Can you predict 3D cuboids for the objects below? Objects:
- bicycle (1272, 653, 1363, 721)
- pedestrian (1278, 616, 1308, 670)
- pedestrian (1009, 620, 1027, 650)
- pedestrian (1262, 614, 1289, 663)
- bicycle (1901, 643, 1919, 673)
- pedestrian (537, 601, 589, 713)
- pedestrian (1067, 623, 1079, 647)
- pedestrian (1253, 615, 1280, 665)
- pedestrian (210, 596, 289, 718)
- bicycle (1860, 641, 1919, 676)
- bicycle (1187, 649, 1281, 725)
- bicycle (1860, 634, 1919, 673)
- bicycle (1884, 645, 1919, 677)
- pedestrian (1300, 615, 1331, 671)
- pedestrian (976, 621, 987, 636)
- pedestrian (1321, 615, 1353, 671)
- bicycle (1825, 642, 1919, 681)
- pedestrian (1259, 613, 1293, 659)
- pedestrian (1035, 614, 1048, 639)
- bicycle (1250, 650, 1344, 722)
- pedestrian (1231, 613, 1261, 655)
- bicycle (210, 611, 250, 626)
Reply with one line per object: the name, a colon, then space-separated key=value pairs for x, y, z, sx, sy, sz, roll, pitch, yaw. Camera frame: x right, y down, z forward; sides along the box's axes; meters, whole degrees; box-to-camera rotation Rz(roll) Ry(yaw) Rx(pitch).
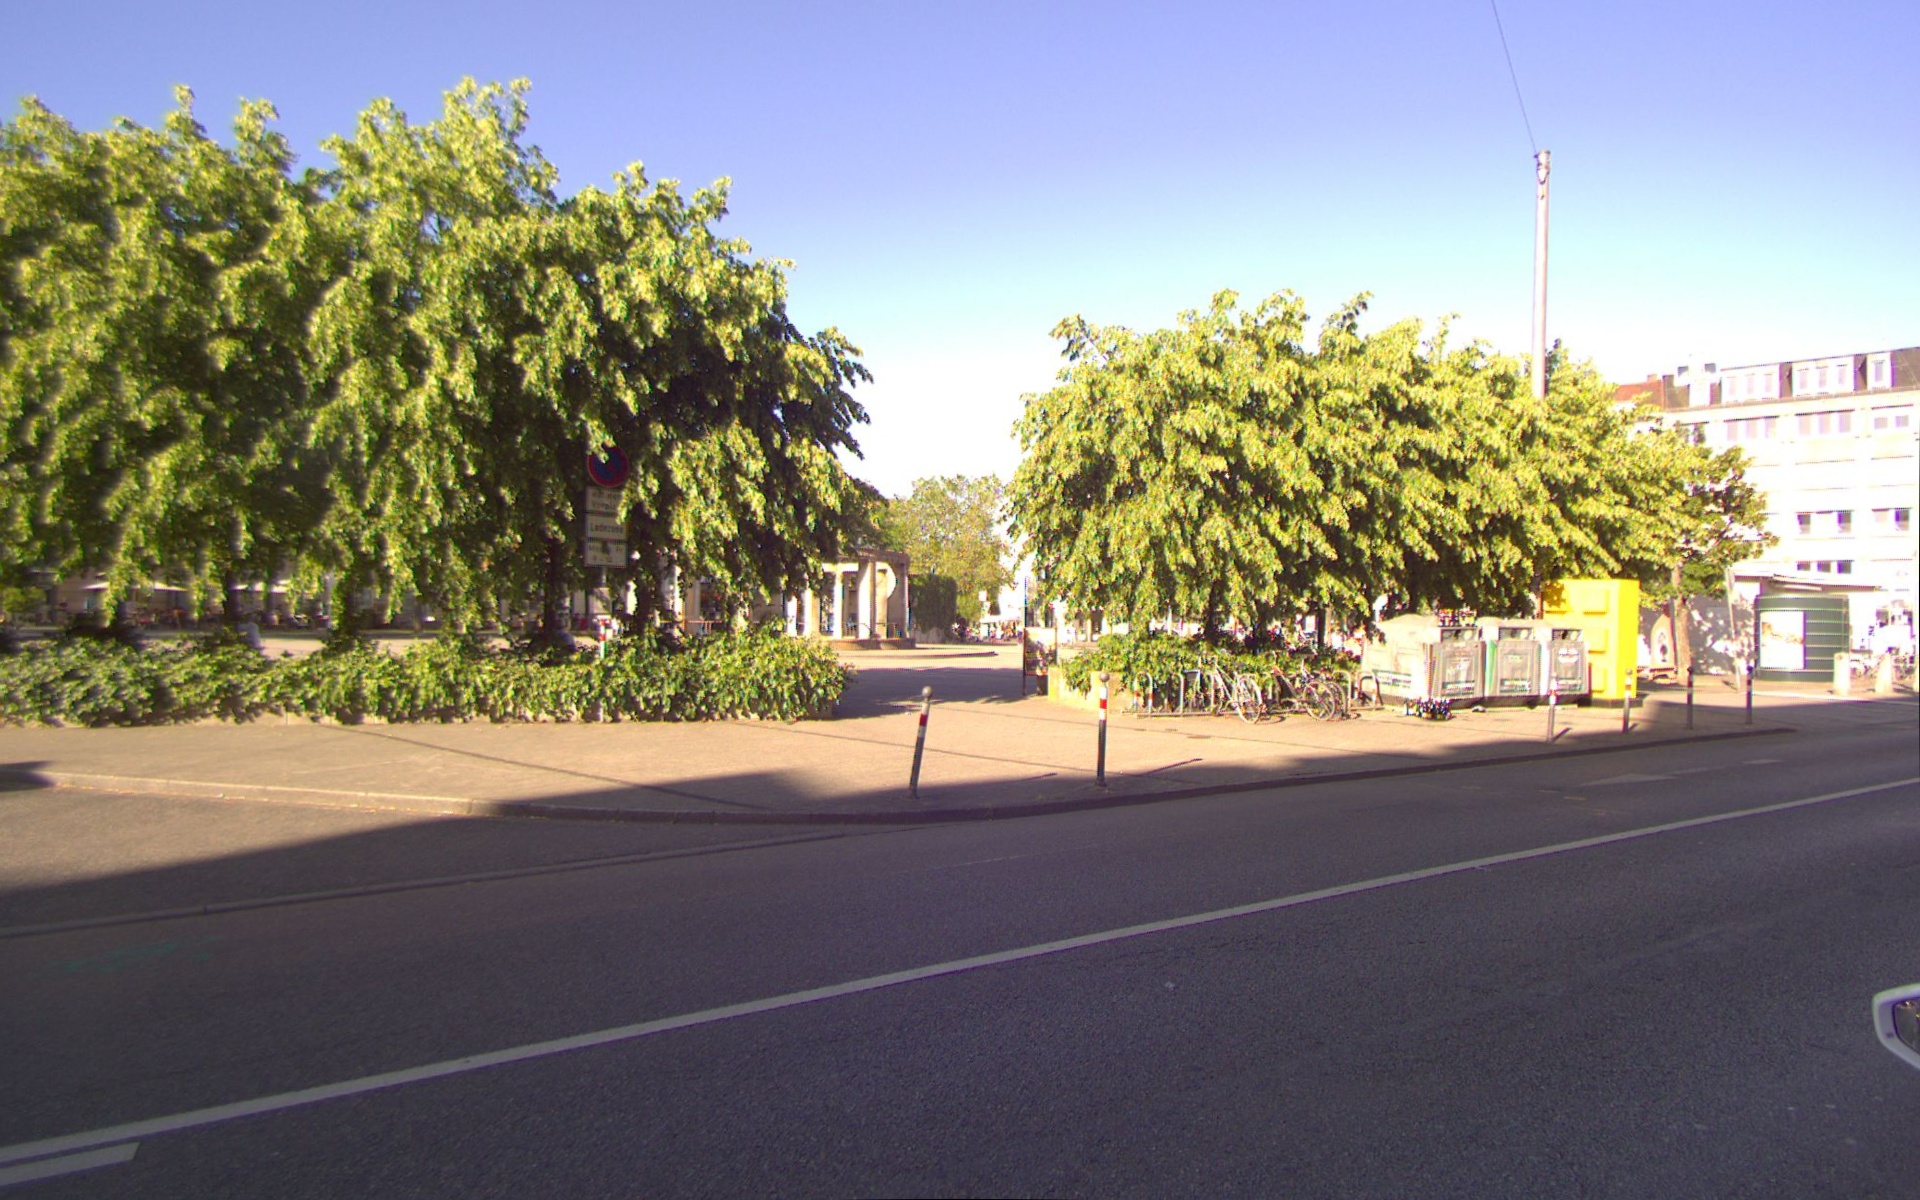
bicycle: x=5.817 y=1.399 z=16.427 sx=0.425 sy=0.971 sz=1.518 roll=0 pitch=0 yaw=-28
pedestrian: x=12.775 y=1.625 z=38.535 sx=0.886 sy=2.040 sz=0.993 roll=1 pitch=0 yaw=7
pedestrian: x=3.968 y=2.398 z=68.845 sx=0.891 sy=2.040 sz=0.987 roll=1 pitch=0 yaw=-23
pedestrian: x=13.425 y=1.643 z=42.727 sx=0.886 sy=2.040 sz=0.993 roll=1 pitch=0 yaw=7
bicycle: x=38.675 y=2.315 z=39.504 sx=0.834 sy=1.171 sz=2.308 roll=1 pitch=-1 yaw=-34
pedestrian: x=-6.552 y=0.919 z=16.598 sx=0.725 sy=1.781 sz=0.895 roll=1 pitch=-1 yaw=-19
pedestrian: x=9.945 y=3.027 z=88.035 sx=0.886 sy=2.040 sz=1.403 roll=1 pitch=-1 yaw=13
pedestrian: x=12.710 y=1.639 z=41.697 sx=0.886 sy=2.040 sz=0.993 roll=1 pitch=0 yaw=7
pedestrian: x=-10.756 y=0.843 z=15.235 sx=0.725 sy=1.781 sz=0.895 roll=1 pitch=-1 yaw=-19
bicycle: x=33.117 y=2.037 z=35.029 sx=0.833 sy=1.171 sz=2.449 roll=1 pitch=-1 yaw=-31
bicycle: x=4.213 y=1.322 z=15.544 sx=0.425 sy=1.031 sz=1.590 roll=1 pitch=0 yaw=-28
bicycle: x=34.478 y=1.943 z=36.519 sx=0.913 sy=1.341 sz=2.461 roll=1 pitch=-1 yaw=-35
bicycle: x=36.751 y=2.328 z=38.026 sx=0.834 sy=1.171 sz=2.517 roll=1 pitch=-1 yaw=-34
pedestrian: x=13.285 y=1.584 z=37.538 sx=0.886 sy=2.040 sz=0.993 roll=1 pitch=0 yaw=7
pedestrian: x=2.758 y=3.650 z=128.931 sx=1.230 sy=1.936 sz=1.236 roll=1 pitch=0 yaw=-10
pedestrian: x=14.072 y=1.604 z=37.509 sx=0.886 sy=2.040 sz=0.993 roll=1 pitch=0 yaw=7
bicycle: x=30.902 y=2.057 z=33.865 sx=0.833 sy=1.171 sz=2.493 roll=1 pitch=-1 yaw=-31
pedestrian: x=14.305 y=1.596 z=45.447 sx=0.890 sy=2.040 sz=1.280 roll=1 pitch=-1 yaw=-18
pedestrian: x=6.886 y=2.246 z=84.826 sx=0.887 sy=2.040 sz=1.402 roll=1 pitch=0 yaw=-5
bicycle: x=5.382 y=1.355 z=16.127 sx=0.425 sy=1.036 sz=1.561 roll=1 pitch=-1 yaw=-28
pedestrian: x=14.209 y=1.699 z=49.915 sx=0.890 sy=2.040 sz=1.216 roll=1 pitch=-1 yaw=-18
bicycle: x=-45.416 y=1.158 z=62.485 sx=0.579 sy=0.966 sz=1.900 roll=1 pitch=-1 yaw=36
